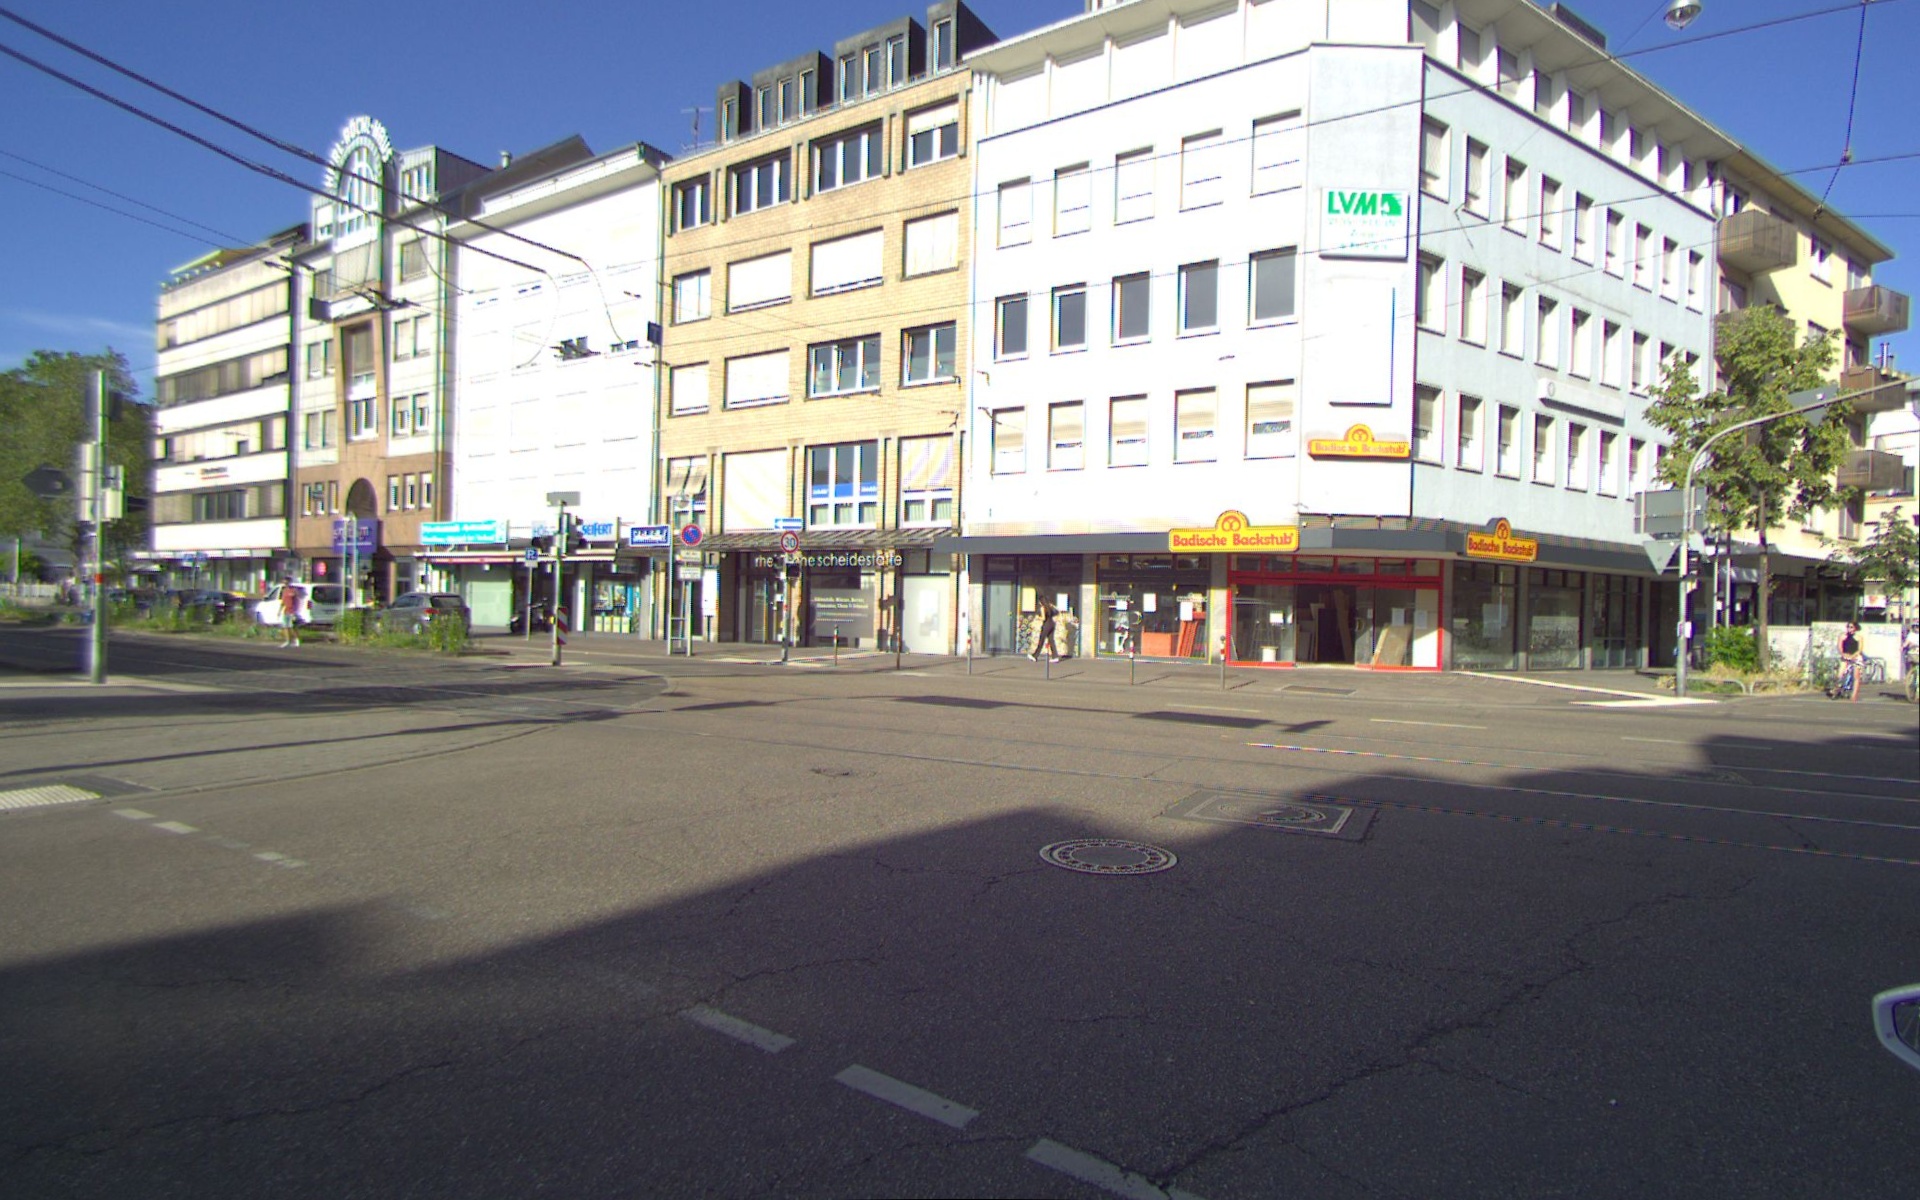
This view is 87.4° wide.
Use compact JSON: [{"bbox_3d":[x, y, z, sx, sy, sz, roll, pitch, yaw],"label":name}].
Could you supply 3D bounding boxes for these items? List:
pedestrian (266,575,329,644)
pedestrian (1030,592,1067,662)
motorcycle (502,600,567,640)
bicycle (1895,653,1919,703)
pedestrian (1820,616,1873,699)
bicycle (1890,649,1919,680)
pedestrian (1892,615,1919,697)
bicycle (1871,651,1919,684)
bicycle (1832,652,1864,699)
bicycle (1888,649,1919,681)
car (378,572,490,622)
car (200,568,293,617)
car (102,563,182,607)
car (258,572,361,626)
[{"bbox_3d":[-16.681,0.236,25.322,0.899,1.685,0.946,2,0,4],"label":"pedestrian"},{"bbox_3d":[2.250,0.680,25.458,0.705,1.732,0.555,2,0,-36],"label":"pedestrian"},{"bbox_3d":[-16.927,0.805,40.015,0.982,1.525,2.251,1,0,30],"label":"motorcycle"},{"bbox_3d":[20.394,1.654,21.452,1.783,0.981,0.546,2,-1,-45],"label":"bicycle"},{"bbox_3d":[19.295,1.240,21.865,0.782,1.735,0.650,3,1,43],"label":"pedestrian"},{"bbox_3d":[32.461,2.182,33.261,0.651,1.019,2.374,2,0,-43],"label":"bicycle"},{"bbox_3d":[20.753,1.213,21.750,0.769,1.751,0.556,3,1,43],"label":"pedestrian"},{"bbox_3d":[30.697,2.193,32.058,0.542,0.971,2.372,2,0,-44],"label":"bicycle"},{"bbox_3d":[19.488,1.636,22.042,0.475,0.968,1.447,1,-1,43],"label":"bicycle"},{"bbox_3d":[31.844,2.162,32.690,0.651,0.991,2.367,2,0,-42],"label":"bicycle"},{"bbox_3d":[-19.353,-0.114,36.928,3.932,1.728,1.994,2,0,34],"label":"car"},{"bbox_3d":[-31.185,-0.345,43.891,3.932,2.040,1.994,2,0,34],"label":"car"},{"bbox_3d":[-40.562,-0.743,49.793,3.932,2.040,1.994,2,0,34],"label":"car"},{"bbox_3d":[-26.515,-0.065,40.886,4.764,2.040,1.993,2,0,37],"label":"car"}]
